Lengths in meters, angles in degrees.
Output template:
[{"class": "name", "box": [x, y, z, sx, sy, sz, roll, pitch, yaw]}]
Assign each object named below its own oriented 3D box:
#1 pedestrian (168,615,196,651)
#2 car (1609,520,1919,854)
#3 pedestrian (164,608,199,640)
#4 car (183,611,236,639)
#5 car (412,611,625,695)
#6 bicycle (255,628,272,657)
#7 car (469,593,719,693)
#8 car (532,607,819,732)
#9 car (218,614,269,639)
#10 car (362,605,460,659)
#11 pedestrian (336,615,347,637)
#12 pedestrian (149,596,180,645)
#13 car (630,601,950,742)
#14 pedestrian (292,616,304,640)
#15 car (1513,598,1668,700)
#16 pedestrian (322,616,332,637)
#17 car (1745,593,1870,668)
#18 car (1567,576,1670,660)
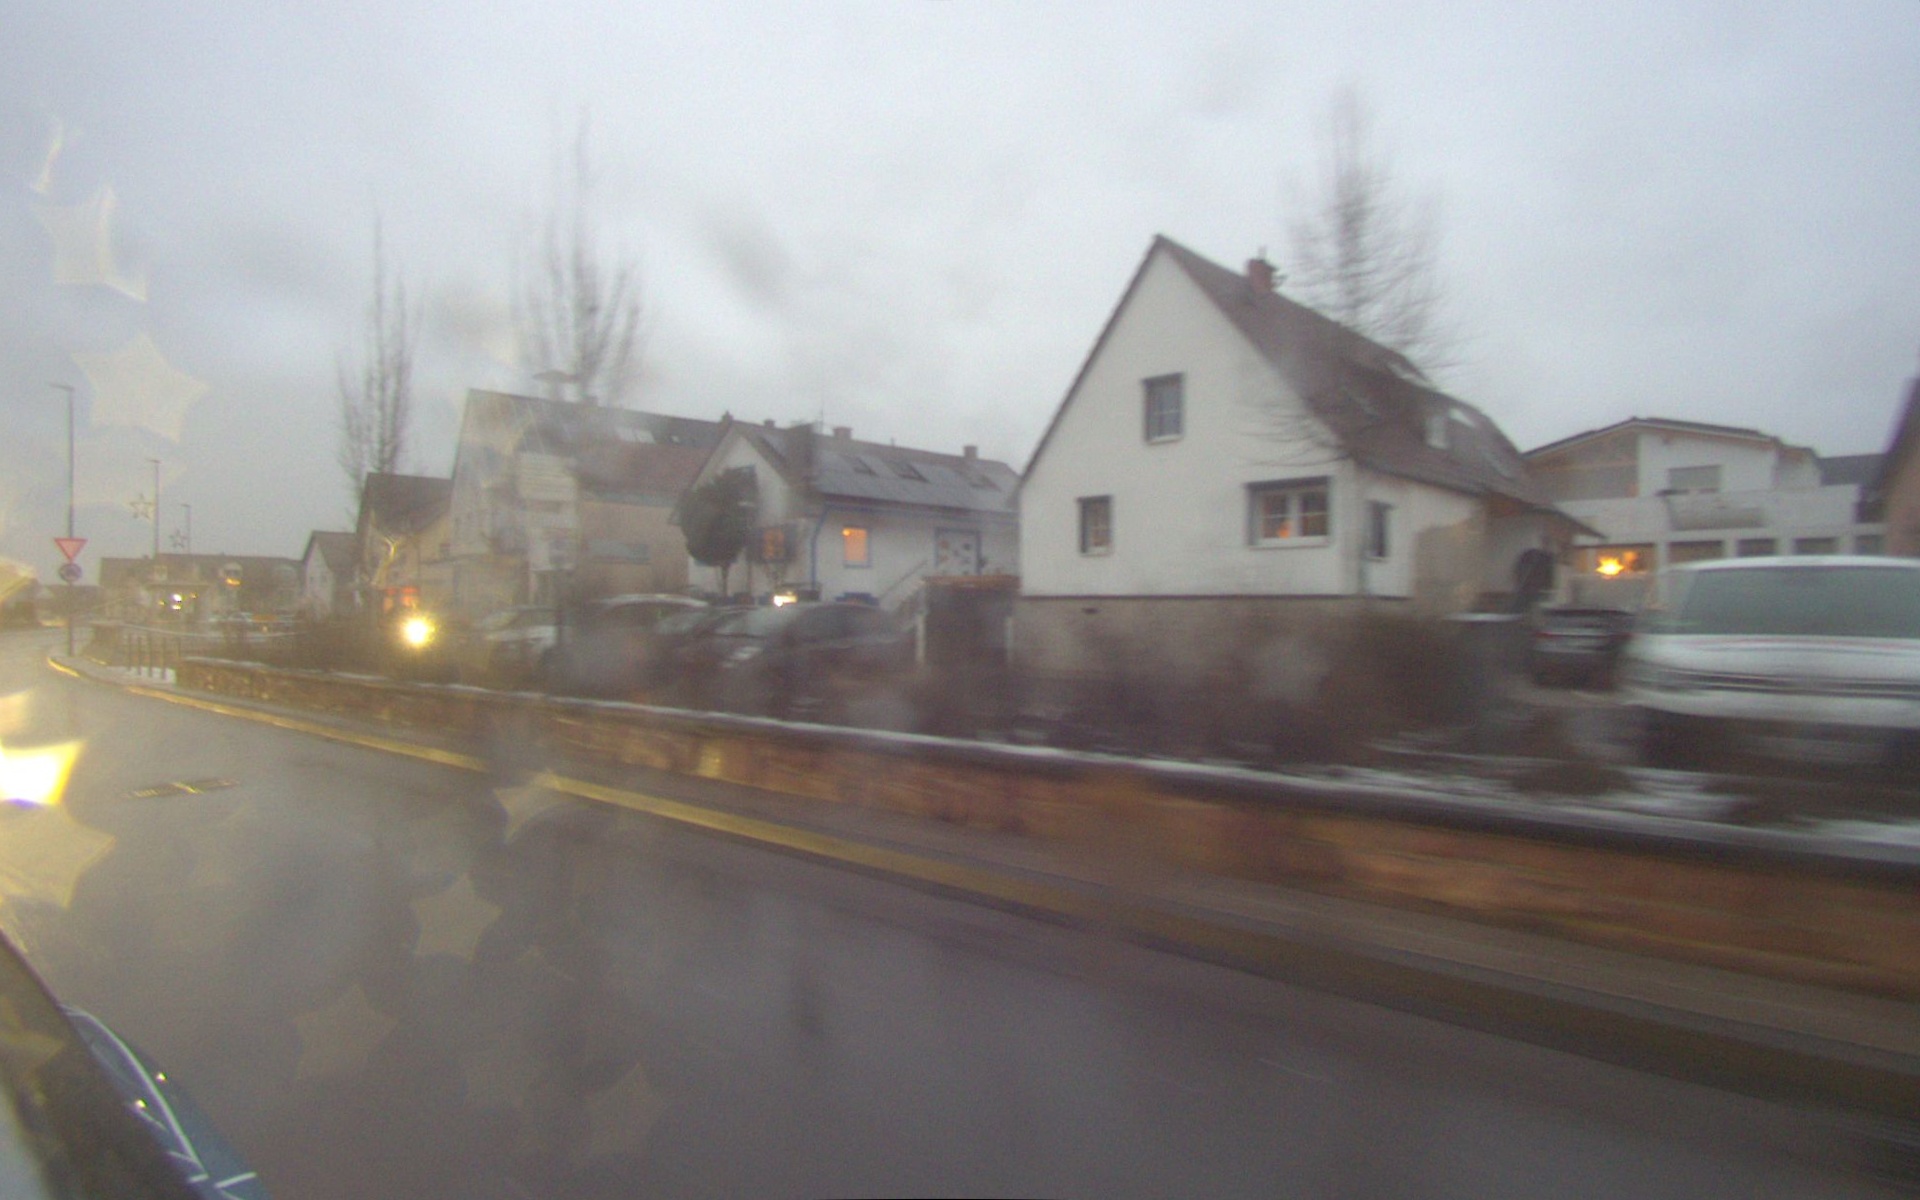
[{"class": "pedestrian", "box": [-28.410, 1.206, 36.947, 0.750, 1.281, 0.677, -2, 0, 45]}, {"class": "car", "box": [5.969, 0.421, 7.106, 1.997, 1.680, 4.582, 0, 0, 38]}, {"class": "pedestrian", "box": [-29.613, 0.910, 38.491, 0.976, 1.167, 0.903, -1, -2, -40]}, {"class": "car", "box": [-60.891, 2.000, 82.080, 3.952, 2.028, 1.909, 1, 2, 27]}, {"class": "car", "box": [-8.424, 0.965, 19.509, 1.599, 1.383, 3.410, -2, 0, 39]}, {"class": "bicycle", "box": [-24.951, 1.513, 36.279, 0.463, 1.017, 1.744, 1, -1, -33]}, {"class": "car", "box": [-6.241, 0.654, 17.586, 1.712, 1.534, 3.757, 0, 0, 38]}, {"class": "car", "box": [-4.275, 0.951, 15.664, 1.587, 1.620, 4.048, 0, 0, 43]}, {"class": "car", "box": [-59.804, 2.204, 84.494, 3.852, 1.895, 1.918, 1, 2, 27]}, {"class": "car", "box": [-18.763, 1.091, 34.488, 1.734, 1.714, 4.568, 3, -4, -44]}, {"class": "pedestrian", "box": [-48.246, 2.015, 78.941, 0.500, 1.623, 0.574, 2, 2, 45]}, {"class": "pedestrian", "box": [-29.240, 0.744, 37.211, 0.687, 1.755, 0.740, -2, 0, 40]}, {"class": "car", "box": [-2.213, 0.838, 13.979, 1.879, 1.509, 4.083, 2, 2, 42]}, {"class": "pedestrian", "box": [-46.854, 1.981, 71.635, 0.500, 1.623, 0.574, 2, 2, 45]}, {"class": "car", "box": [11.556, 0.778, 18.432, 1.997, 1.509, 4.046, 2, 2, 38]}, {"class": "pedestrian", "box": [-48.866, 2.057, 78.103, 0.500, 1.623, 0.574, 2, 2, 45]}, {"class": "car", "box": [20.025, 0.637, 23.857, 2.001, 1.509, 4.039, 2, 3, 43]}, {"class": "car", "box": [14.373, 0.320, 22.233, 1.591, 1.671, 3.070, 1, 2, 28]}]
